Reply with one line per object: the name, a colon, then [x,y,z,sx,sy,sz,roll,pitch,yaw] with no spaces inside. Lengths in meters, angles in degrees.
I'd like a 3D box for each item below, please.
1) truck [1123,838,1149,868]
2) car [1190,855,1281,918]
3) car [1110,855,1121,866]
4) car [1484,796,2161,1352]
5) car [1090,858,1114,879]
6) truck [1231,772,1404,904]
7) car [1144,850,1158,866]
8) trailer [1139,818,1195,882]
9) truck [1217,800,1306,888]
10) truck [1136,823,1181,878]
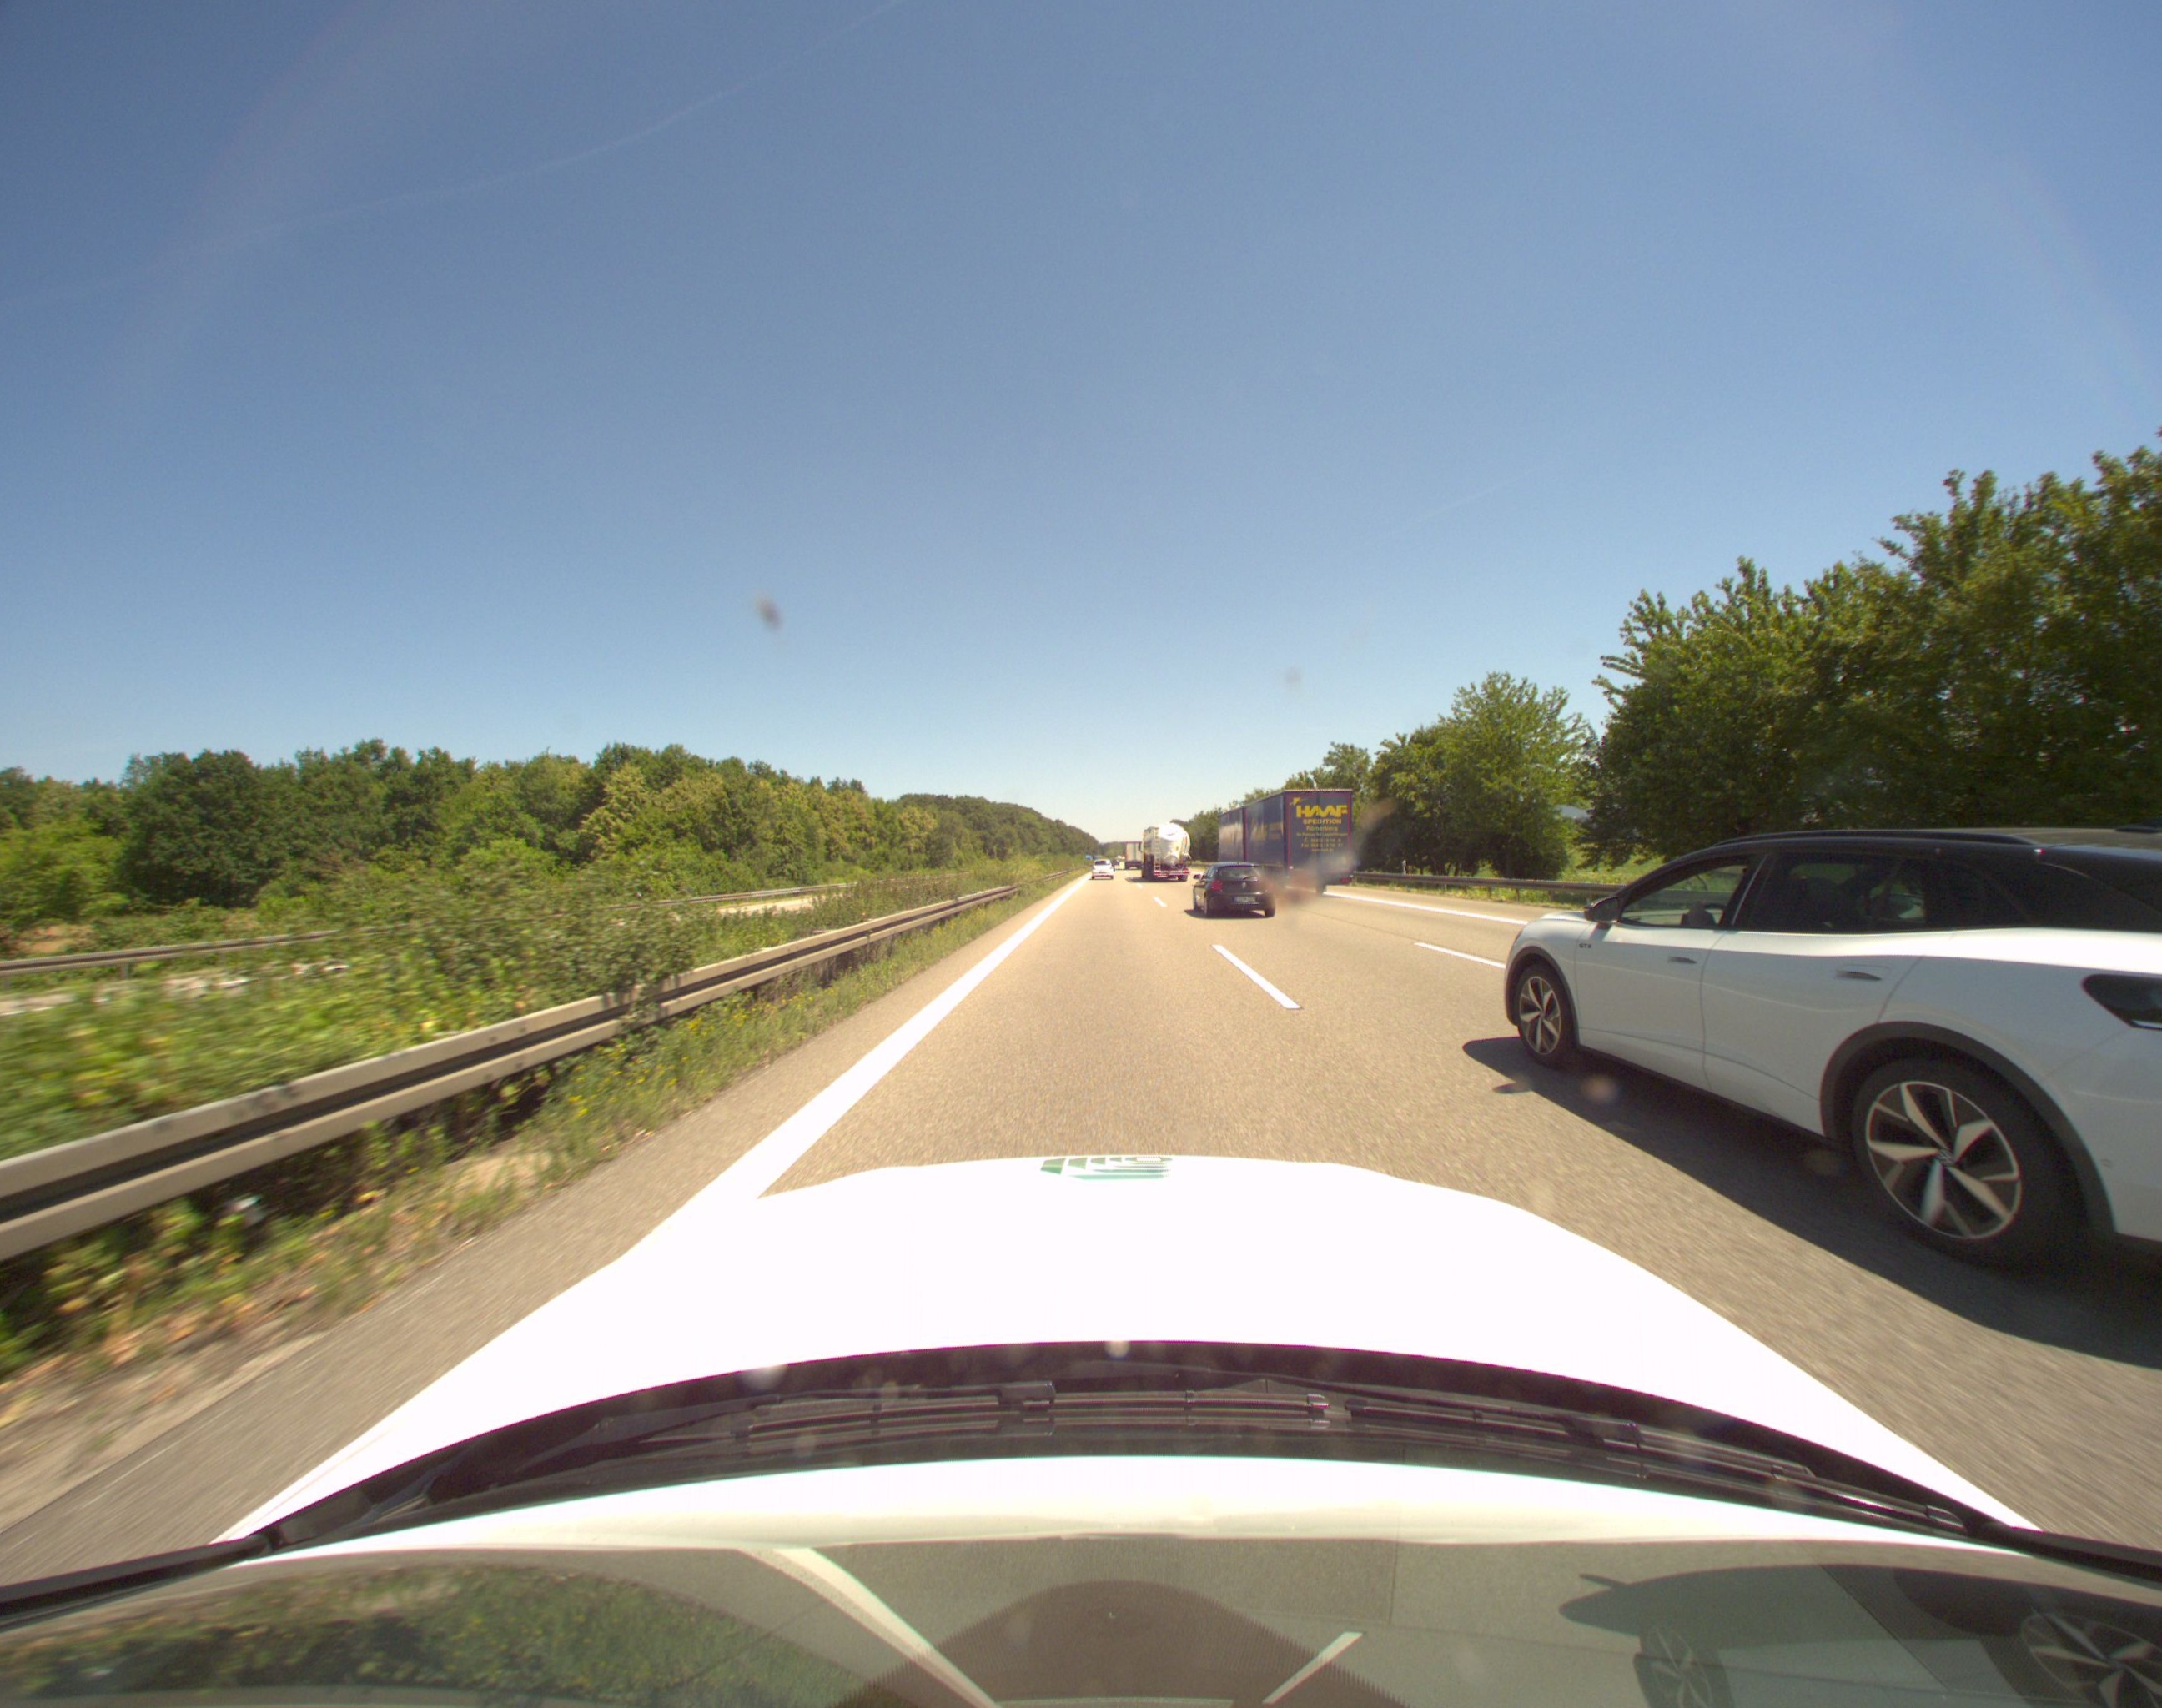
truck: [8.082,-0.124,120.871,3.381,4.214,12.088,0,0,2]
car: [4.041,0.792,21.873,1.843,1.523,3.959,0,0,2]
car: [8.099,1.507,191.446,2.466,2.354,5.184,0,0,2]
car: [4.061,0.632,4.296,1.796,1.603,4.382,0,0,1]
car: [1.604,1.126,63.103,1.793,1.552,3.610,0,0,0]
truck: [8.857,-0.479,33.341,3.097,4.139,15.518,0,0,2]
car: [14.289,0.796,166.292,2.659,3.189,5.569,0,0,2]
trailer: [5.892,-0.237,57.890,2.901,4.069,12.419,0,0,1]
truck: [9.184,-0.462,42.439,3.097,4.139,8.060,0,0,2]
truck: [6.001,-0.239,64.112,2.902,4.079,7.194,0,0,0]
